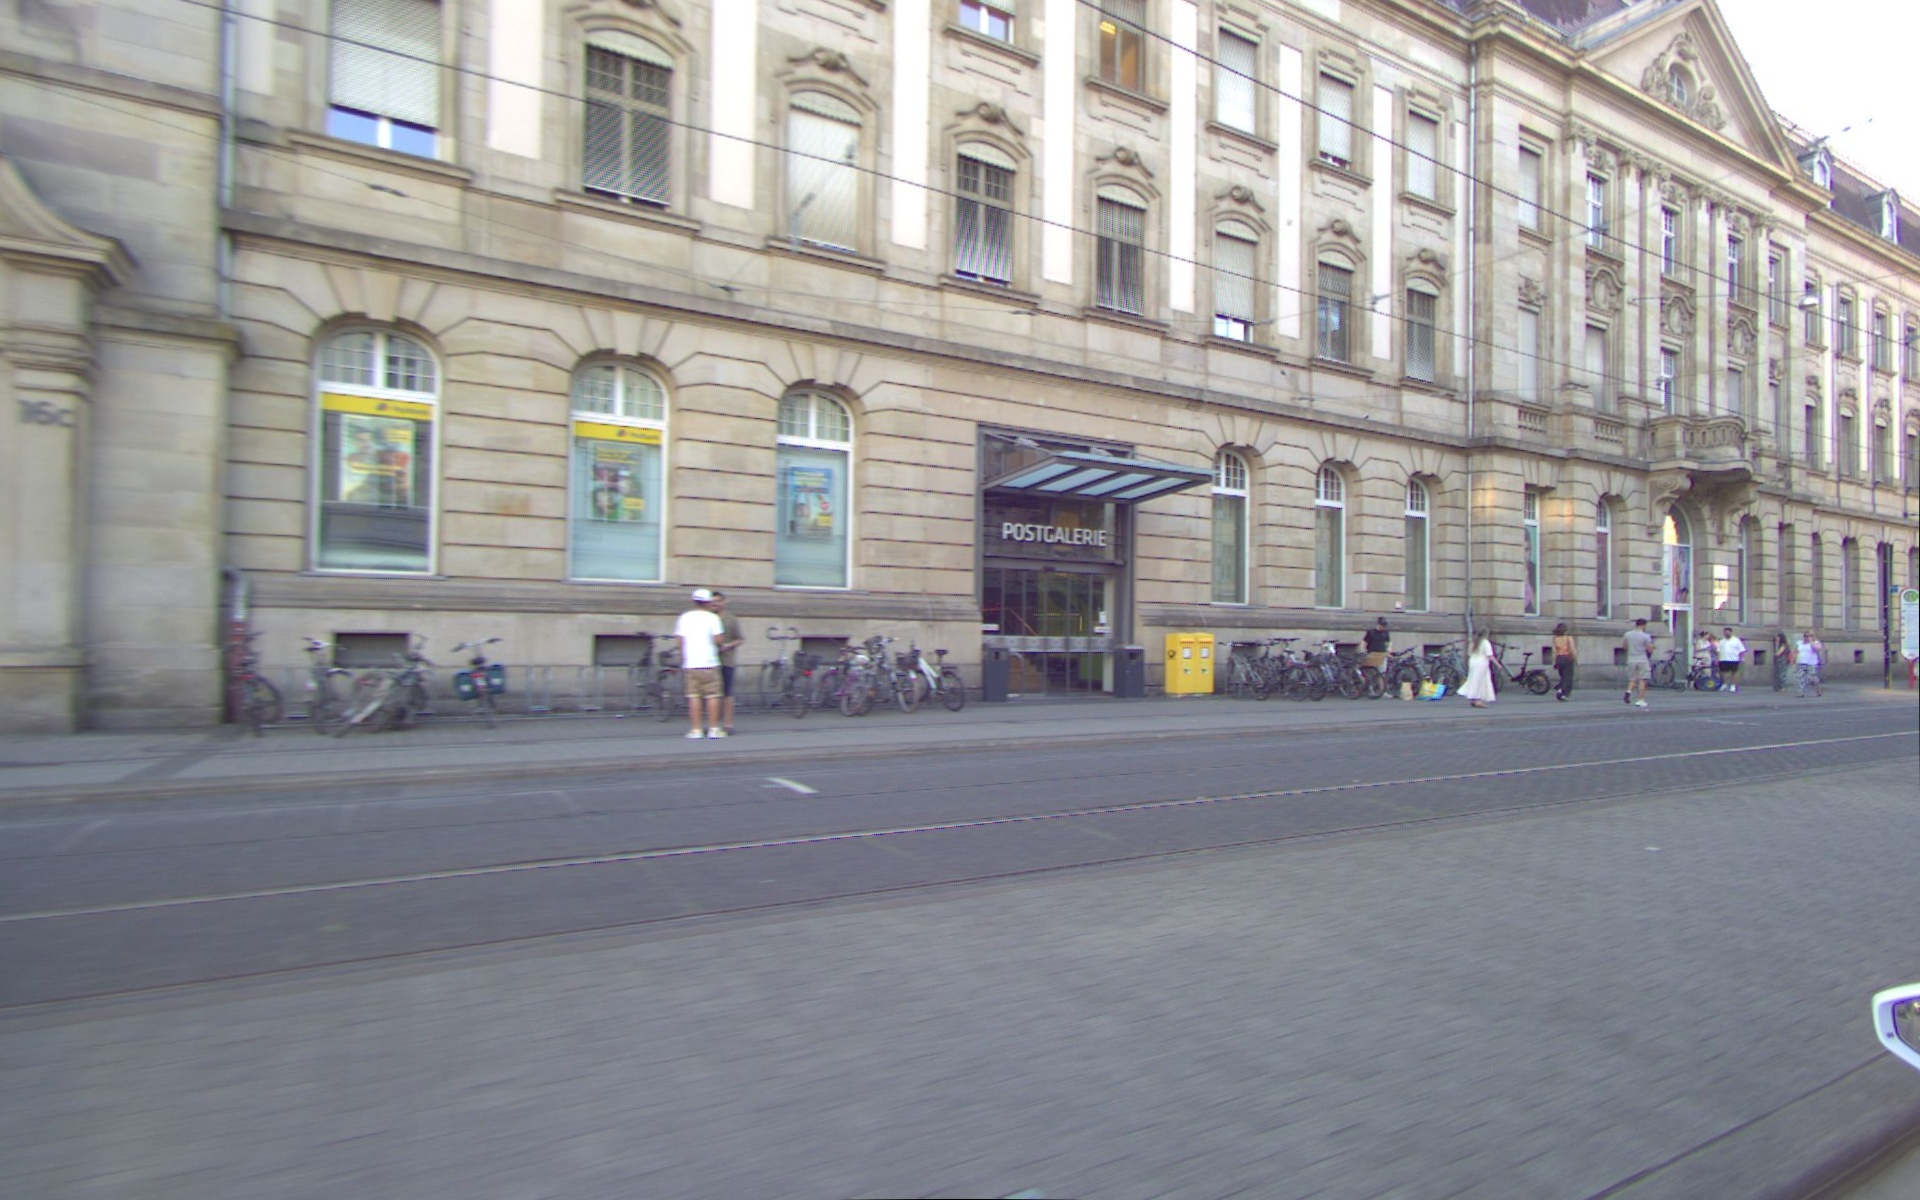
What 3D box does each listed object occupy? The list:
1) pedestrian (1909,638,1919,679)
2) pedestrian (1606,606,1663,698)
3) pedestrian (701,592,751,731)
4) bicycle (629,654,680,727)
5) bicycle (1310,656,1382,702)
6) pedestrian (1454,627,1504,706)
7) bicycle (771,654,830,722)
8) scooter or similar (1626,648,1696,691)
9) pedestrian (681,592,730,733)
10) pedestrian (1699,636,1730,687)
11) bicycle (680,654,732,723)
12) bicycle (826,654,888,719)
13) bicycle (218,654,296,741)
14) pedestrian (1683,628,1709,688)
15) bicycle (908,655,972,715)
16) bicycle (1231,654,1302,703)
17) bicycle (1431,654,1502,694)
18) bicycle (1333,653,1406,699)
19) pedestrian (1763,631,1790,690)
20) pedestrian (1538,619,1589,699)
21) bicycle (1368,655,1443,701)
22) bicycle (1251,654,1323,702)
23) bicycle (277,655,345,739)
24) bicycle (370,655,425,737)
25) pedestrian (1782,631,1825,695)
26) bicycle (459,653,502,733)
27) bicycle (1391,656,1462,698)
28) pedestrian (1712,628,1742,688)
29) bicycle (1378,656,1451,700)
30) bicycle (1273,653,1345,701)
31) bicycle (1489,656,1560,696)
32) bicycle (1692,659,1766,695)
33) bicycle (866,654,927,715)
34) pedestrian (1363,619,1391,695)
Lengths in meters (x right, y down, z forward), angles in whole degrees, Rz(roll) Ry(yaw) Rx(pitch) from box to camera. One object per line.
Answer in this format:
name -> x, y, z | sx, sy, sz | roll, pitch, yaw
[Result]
pedestrian -> 37.970, 2.313, 39.676 | 0.675, 1.582, 0.653 | 2, -2, -44
pedestrian -> 13.785, 1.053, 20.524 | 0.805, 1.837, 0.689 | 2, -2, -30
pedestrian -> -2.920, 0.755, 12.517 | 0.487, 1.695, 0.374 | 2, -1, -26
bicycle -> -4.290, 1.241, 14.064 | 0.445, 0.885, 1.571 | 2, -1, -25
bicycle -> 8.213, 1.665, 21.425 | 0.445, 0.885, 1.571 | 2, -1, -25
pedestrian -> 9.956, 1.262, 19.262 | 0.551, 1.486, 0.687 | 2, -2, -37
bicycle -> -2.403, 1.288, 15.011 | 0.445, 0.885, 1.571 | 2, -1, -25
scooter or similar -> 19.004, 1.872, 27.251 | 0.445, 1.082, 1.542 | 2, -1, -25
pedestrian -> -3.027, 0.741, 11.987 | 0.484, 1.652, 0.375 | 2, -1, -10
pedestrian -> 21.999, 1.776, 29.289 | 0.560, 1.459, 0.441 | 2, -1, 7
bicycle -> -3.712, 1.263, 14.611 | 0.445, 0.885, 1.571 | 2, -1, -25
bicycle -> -1.619, 1.325, 15.621 | 0.445, 0.885, 1.571 | 2, -1, -25
bicycle -> -8.271, 1.121, 11.863 | 0.445, 0.885, 1.571 | 2, -1, -25
pedestrian -> 20.820, 1.647, 28.415 | 0.597, 1.664, 0.334 | 2, -1, -23
bicycle -> -0.353, 1.387, 16.655 | 0.445, 0.885, 1.571 | 2, -1, -25
bicycle -> 6.185, 1.568, 20.343 | 0.445, 0.885, 1.571 | 2, -1, -25
bicycle -> 12.200, 1.773, 24.239 | 0.445, 0.885, 1.571 | 2, -1, -25
bicycle -> 8.808, 1.615, 21.652 | 0.445, 0.885, 1.571 | 2, -1, -25
pedestrian -> 23.228, 1.720, 28.565 | 0.566, 1.626, 0.436 | 2, -1, -35
pedestrian -> 13.359, 1.300, 22.240 | 0.806, 1.734, 0.689 | 2, -2, -30
bicycle -> 9.622, 1.681, 21.734 | 0.445, 0.885, 1.571 | 2, -1, -25
bicycle -> 6.720, 1.582, 20.695 | 0.445, 0.885, 1.571 | 2, -1, -25
bicycle -> -7.828, 1.141, 12.161 | 0.445, 0.885, 1.571 | 2, -1, -25
bicycle -> -7.032, 1.175, 12.600 | 0.445, 0.885, 1.571 | 2, -1, -25
pedestrian -> 21.181, 1.568, 25.223 | 0.672, 1.582, 0.656 | 2, -2, -30
bicycle -> -6.104, 1.158, 12.823 | 0.445, 0.885, 1.571 | 2, -1, -25
bicycle -> 10.837, 1.778, 23.386 | 0.445, 0.885, 1.571 | 2, -1, -25
pedestrian -> 21.446, 1.618, 28.072 | 0.556, 1.664, 0.473 | 2, -1, -30
bicycle -> 10.103, 1.725, 22.368 | 0.445, 0.885, 1.571 | 2, -1, -25
bicycle -> 7.248, 1.585, 20.934 | 0.445, 0.885, 1.571 | 2, -1, -25
bicycle -> 13.957, 1.871, 24.882 | 0.445, 0.885, 1.571 | 2, -1, -25
bicycle -> 20.925, 2.081, 27.349 | 0.445, 0.885, 1.571 | 2, -1, -25
bicycle -> -1.064, 1.360, 16.474 | 0.445, 0.885, 1.571 | 2, -1, -25
pedestrian -> 9.206, 1.263, 22.172 | 0.424, 1.655, 0.363 | 2, -1, -24
